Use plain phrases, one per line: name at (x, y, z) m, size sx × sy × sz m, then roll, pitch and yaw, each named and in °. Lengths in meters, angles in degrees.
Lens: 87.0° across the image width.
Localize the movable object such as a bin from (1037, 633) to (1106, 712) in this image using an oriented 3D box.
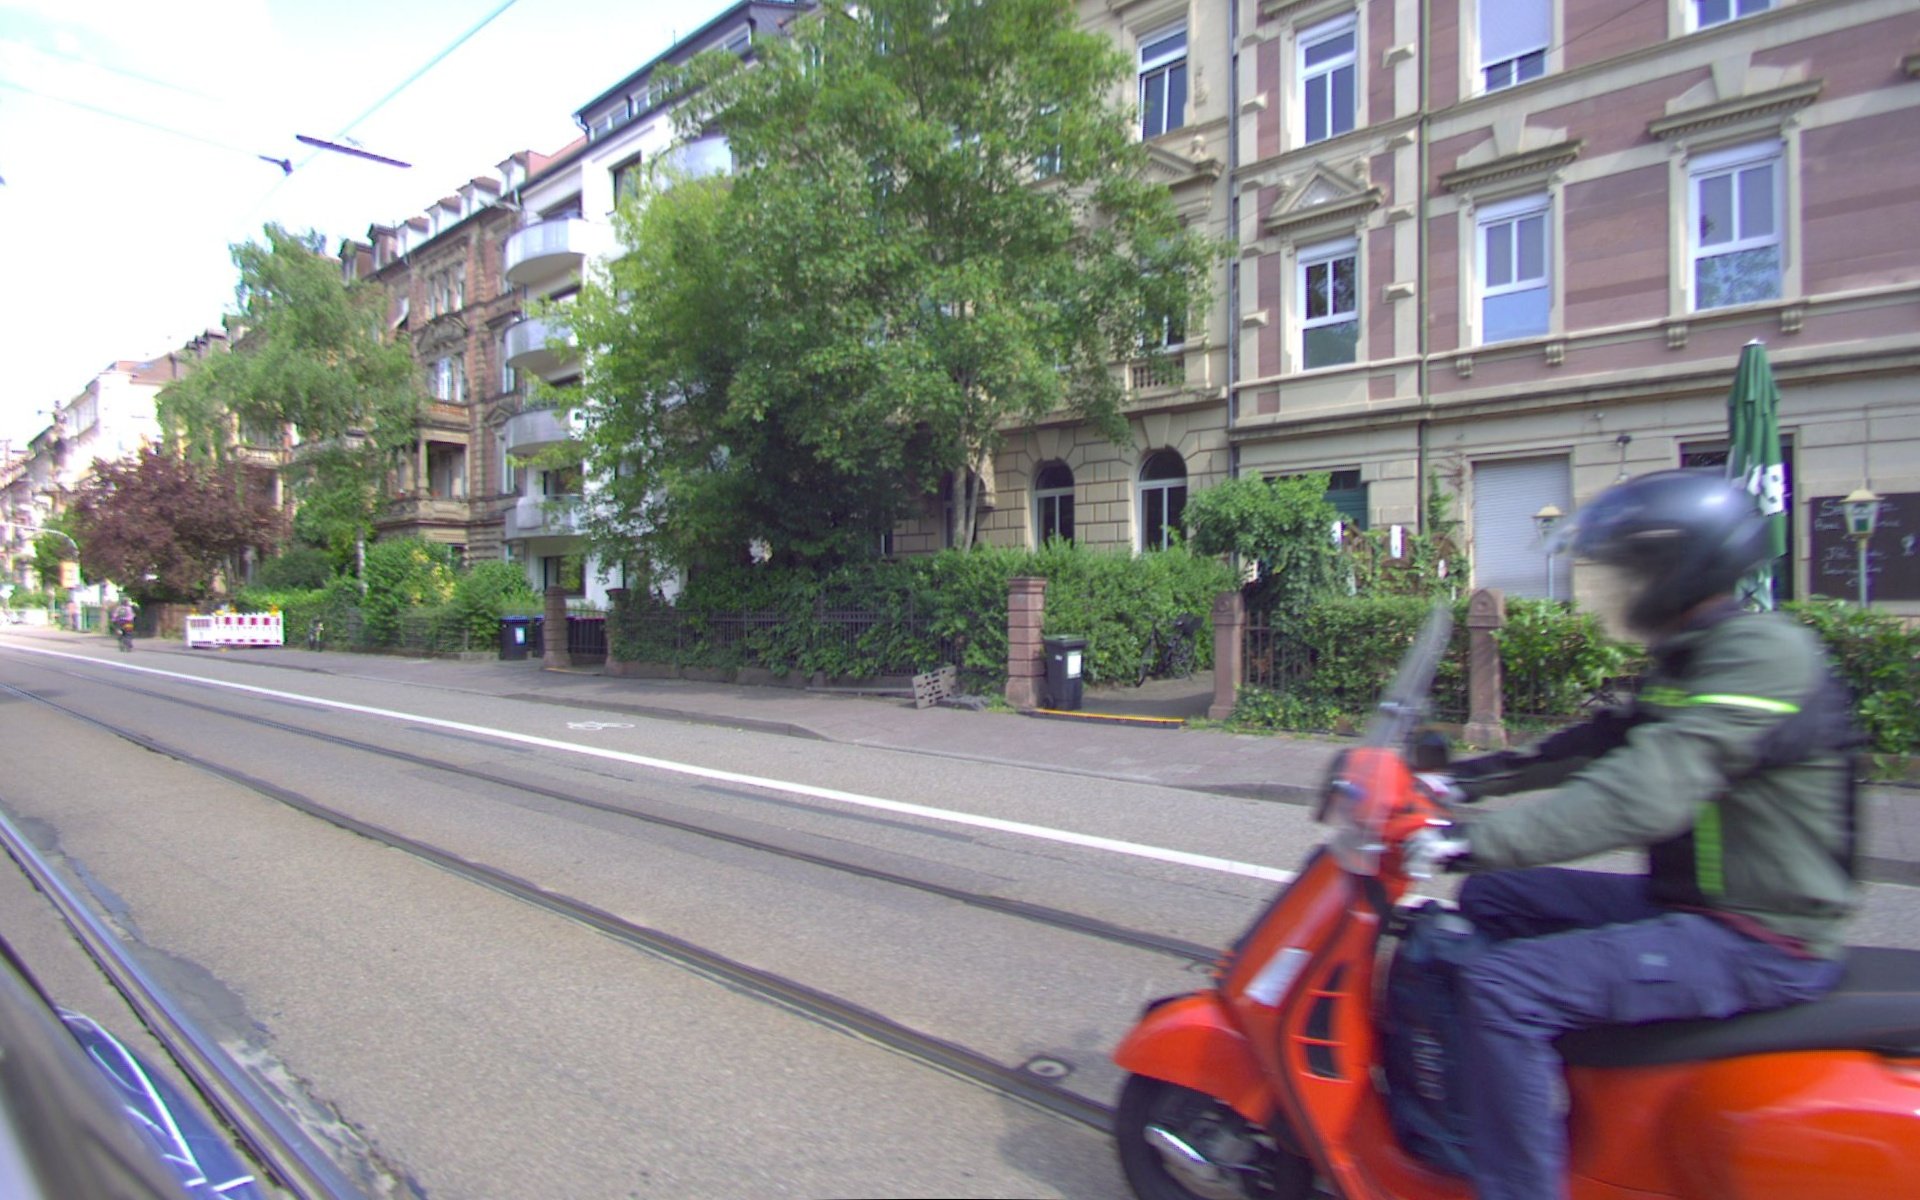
movable object such as a bin at (1.400, 0.888, 12.683) m, size 0.640 × 0.932 × 0.572 m, roll -1°, pitch -1°, yaw 41°

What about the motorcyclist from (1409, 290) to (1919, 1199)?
motorcyclist at (1.356, 0.449, 1.757) m, size 0.919 × 1.727 × 0.732 m, roll -1°, pitch -1°, yaw 36°

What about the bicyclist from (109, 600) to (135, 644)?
bicyclist at (-27.856, 0.740, 33.642) m, size 0.942 × 1.436 × 0.558 m, roll -1°, pitch -1°, yaw 43°

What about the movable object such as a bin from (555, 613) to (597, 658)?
movable object such as a bin at (-9.960, 0.910, 26.223) m, size 0.733 × 1.116 × 0.765 m, roll -1°, pitch -1°, yaw 40°

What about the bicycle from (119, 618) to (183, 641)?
bicycle at (-35.035, 1.263, 43.862) m, size 0.586 × 0.944 × 2.106 m, roll -1°, pitch -1°, yaw 40°

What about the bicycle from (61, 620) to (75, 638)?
bicycle at (-50.735, 1.643, 57.569) m, size 1.472 × 0.948 × 0.395 m, roll -5°, pitch -5°, yaw 43°

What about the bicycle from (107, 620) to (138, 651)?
bicycle at (-27.834, 1.161, 33.621) m, size 1.918 × 0.997 × 0.563 m, roll -1°, pitch -1°, yaw 43°

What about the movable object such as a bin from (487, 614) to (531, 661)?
movable object such as a bin at (-11.107, 0.909, 24.933) m, size 0.733 × 1.116 × 0.765 m, roll -1°, pitch -1°, yaw 40°

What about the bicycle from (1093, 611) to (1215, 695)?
bicycle at (2.849, 0.719, 14.638) m, size 0.481 × 1.001 × 2.589 m, roll -1°, pitch 2°, yaw 41°

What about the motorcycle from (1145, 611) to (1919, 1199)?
motorcycle at (1.426, 0.705, 1.704) m, size 2.084 × 1.370 × 0.733 m, roll -1°, pitch -1°, yaw 36°

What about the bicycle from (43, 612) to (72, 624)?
bicycle at (-73.433, 1.486, 82.352) m, size 0.483 × 0.948 × 1.731 m, roll 0°, pitch -2°, yaw 39°

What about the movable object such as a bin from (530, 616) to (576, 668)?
movable object such as a bin at (-8.873, 0.903, 22.075) m, size 0.732 × 1.116 × 0.661 m, roll -1°, pitch -1°, yaw 37°

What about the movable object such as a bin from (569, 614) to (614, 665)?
movable object such as a bin at (-8.262, 0.870, 22.708) m, size 0.732 × 1.116 × 0.661 m, roll -1°, pitch -1°, yaw 37°

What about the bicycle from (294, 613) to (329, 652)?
bicycle at (-19.740, 0.977, 30.782) m, size 1.818 × 1.146 × 0.408 m, roll -1°, pitch -1°, yaw 41°

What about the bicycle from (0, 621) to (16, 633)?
bicycle at (-75.334, 2.122, 79.400) m, size 1.724 × 0.948 × 0.485 m, roll 2°, pitch -2°, yaw -25°

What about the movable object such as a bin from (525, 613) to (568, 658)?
movable object such as a bin at (-10.450, 0.883, 25.594) m, size 0.733 × 1.116 × 0.765 m, roll -1°, pitch -1°, yaw 40°
